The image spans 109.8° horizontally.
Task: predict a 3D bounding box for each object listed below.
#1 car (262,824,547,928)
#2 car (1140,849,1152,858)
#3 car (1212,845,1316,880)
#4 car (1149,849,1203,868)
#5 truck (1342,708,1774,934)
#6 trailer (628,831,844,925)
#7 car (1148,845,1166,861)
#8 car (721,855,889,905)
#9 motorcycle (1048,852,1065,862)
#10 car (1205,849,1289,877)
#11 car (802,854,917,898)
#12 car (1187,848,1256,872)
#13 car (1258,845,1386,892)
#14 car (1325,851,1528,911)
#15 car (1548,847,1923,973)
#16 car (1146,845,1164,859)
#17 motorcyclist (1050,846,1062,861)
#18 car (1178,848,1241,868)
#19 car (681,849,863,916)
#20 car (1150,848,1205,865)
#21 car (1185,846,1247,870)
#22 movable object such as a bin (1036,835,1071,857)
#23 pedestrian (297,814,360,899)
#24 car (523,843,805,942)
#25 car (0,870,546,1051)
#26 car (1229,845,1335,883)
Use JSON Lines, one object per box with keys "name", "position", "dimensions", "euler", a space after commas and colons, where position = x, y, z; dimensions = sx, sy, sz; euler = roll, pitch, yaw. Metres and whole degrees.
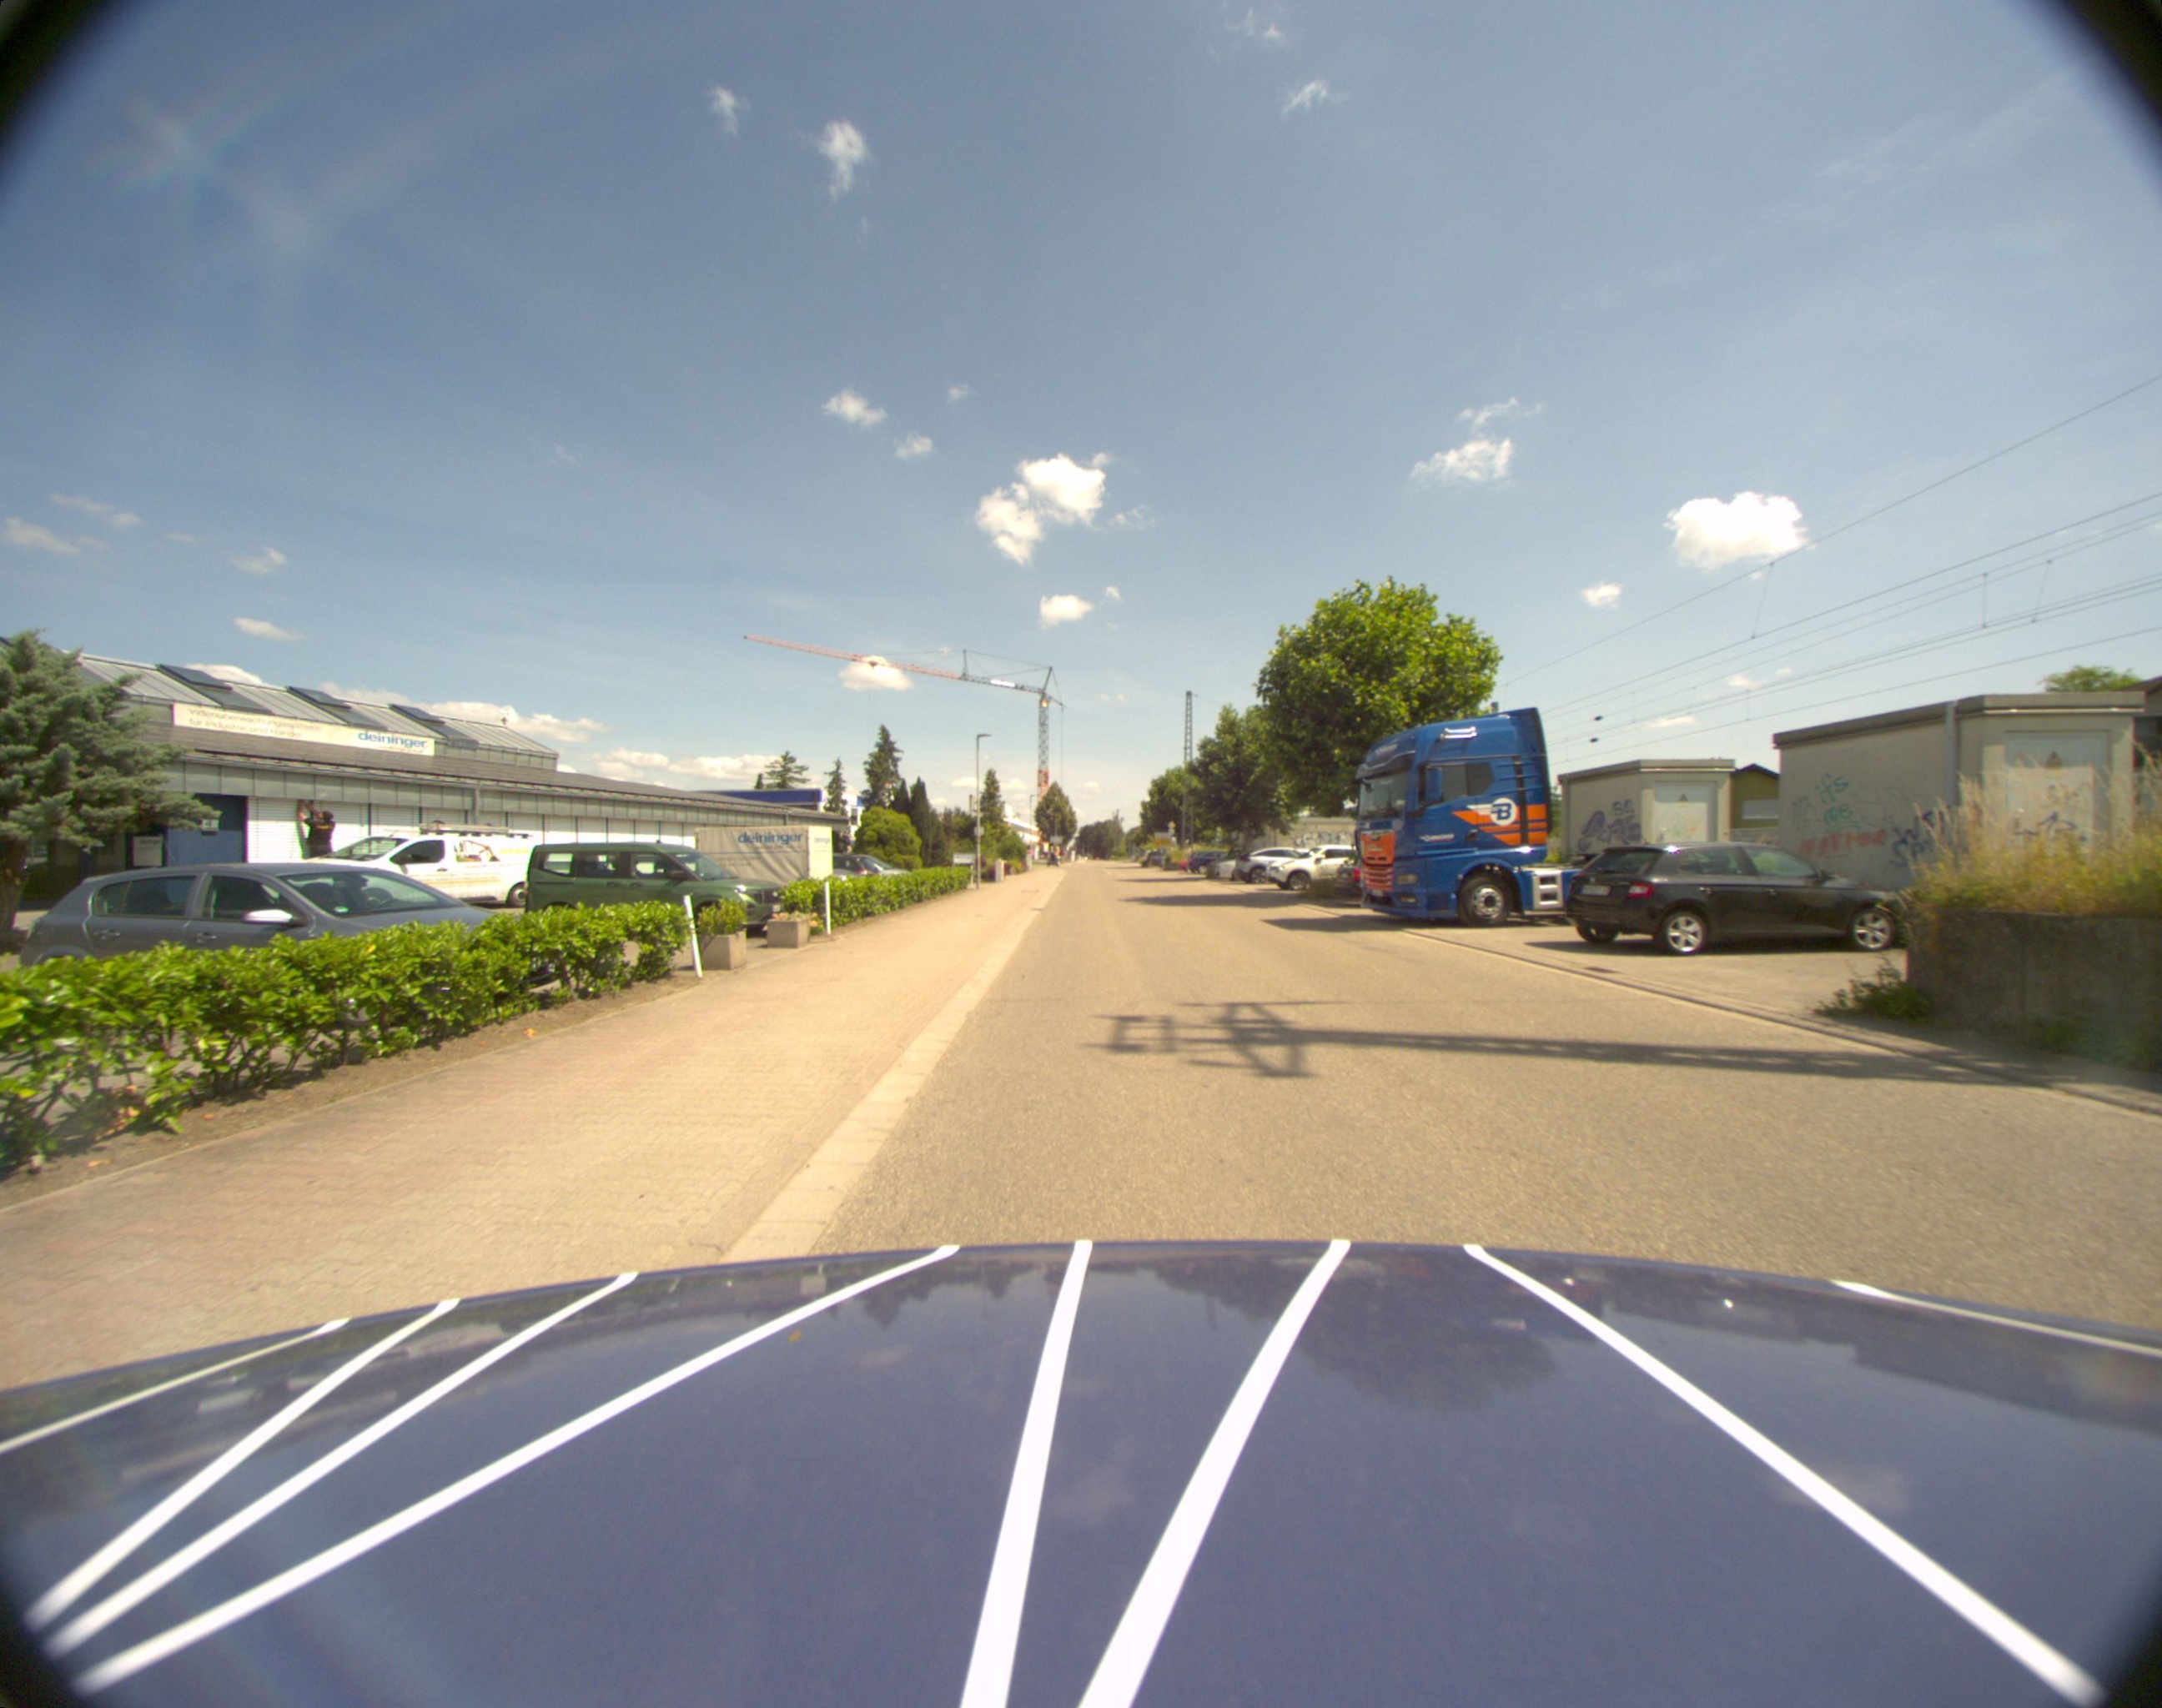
{"name": "car", "position": [-15.888, 0.419, 18.272], "dimensions": [2.103, 2.113, 4.721], "euler": [2, 1, 15]}
{"name": "car", "position": [10.257, -0.051, 119.927], "dimensions": [1.607, 1.342, 4.000], "euler": [0, 1, 2]}
{"name": "car", "position": [8.412, 0.367, 35.173], "dimensions": [4.349, 1.524, 1.926], "euler": [-1, 0, 0]}
{"name": "car", "position": [7.630, 0.339, 61.046], "dimensions": [4.084, 1.394, 1.786], "euler": [-1, 1, -2]}
{"name": "truck", "position": [8.823, -0.593, 14.598], "dimensions": [6.631, 3.801, 2.663], "euler": [-1, 1, -2]}
{"name": "trailer", "position": [-7.810, 0.503, 17.518], "dimensions": [3.997, 2.002, 2.000], "euler": [-1, 1, 1]}
{"name": "car", "position": [7.604, -0.082, 76.086], "dimensions": [1.688, 1.522, 4.064], "euler": [1, 1, 7]}
{"name": "car", "position": [-8.341, 0.764, 23.302], "dimensions": [4.487, 1.432, 1.814], "euler": [-1, 1, -3]}
{"name": "motorcycle", "position": [-2.543, 0.289, 77.762], "dimensions": [1.949, 1.045, 0.465], "euler": [1, 2, 44]}
{"name": "car", "position": [8.840, 0.460, 40.655], "dimensions": [4.083, 1.464, 1.786], "euler": [0, 1, 1]}
{"name": "car", "position": [-7.485, 0.715, 25.873], "dimensions": [3.360, 1.393, 1.770], "euler": [1, 1, 4]}
{"name": "car", "position": [8.523, 0.341, 46.379], "dimensions": [3.953, 1.442, 1.787], "euler": [0, 1, 5]}
{"name": "car", "position": [8.557, 0.497, 27.207], "dimensions": [3.981, 1.608, 1.850], "euler": [0, 1, -3]}
{"name": "car", "position": [8.514, 0.633, 18.996], "dimensions": [4.220, 1.387, 1.871], "euler": [-1, 1, -1]}
{"name": "car", "position": [8.742, 0.703, 10.375], "dimensions": [3.653, 1.492, 1.699], "euler": [1, 3, -3]}
{"name": "car", "position": [8.359, -0.245, 86.118], "dimensions": [1.807, 1.555, 4.263], "euler": [1, 1, 3]}
{"name": "motorcyclist", "position": [-2.554, -0.091, 77.732], "dimensions": [0.780, 1.500, 0.918], "euler": [-2, 2, -44]}
{"name": "car", "position": [8.825, 0.287, 52.327], "dimensions": [4.083, 1.360, 1.674], "euler": [-1, -1, 1]}
{"name": "car", "position": [-7.878, 0.721, 19.690], "dimensions": [4.045, 1.566, 1.712], "euler": [1, 3, -5]}
{"name": "car", "position": [8.350, 0.214, 65.880], "dimensions": [4.438, 1.402, 1.787], "euler": [0, 1, -2]}
{"name": "car", "position": [8.658, 0.267, 49.031], "dimensions": [3.675, 1.439, 1.683], "euler": [-2, 1, -1]}
{"name": "movable object such as a bin", "position": [-4.355, -1.206, 121.104], "dimensions": [5.133, 3.277, 2.390], "euler": [0, 6, -16]}
{"name": "pedestrian", "position": [-17.646, 0.046, 17.839], "dimensions": [0.717, 1.932, 0.690], "euler": [1, 3, -1]}
{"name": "car", "position": [-7.583, 0.663, 14.147], "dimensions": [4.223, 1.625, 1.800], "euler": [1, 3, -1]}
{"name": "car", "position": [-7.729, 0.927, 7.311], "dimensions": [3.854, 1.447, 1.817], "euler": [-1, 1, 1]}
{"name": "car", "position": [8.536, 0.405, 32.500], "dimensions": [3.997, 1.539, 1.999], "euler": [0, 1, -1]}
